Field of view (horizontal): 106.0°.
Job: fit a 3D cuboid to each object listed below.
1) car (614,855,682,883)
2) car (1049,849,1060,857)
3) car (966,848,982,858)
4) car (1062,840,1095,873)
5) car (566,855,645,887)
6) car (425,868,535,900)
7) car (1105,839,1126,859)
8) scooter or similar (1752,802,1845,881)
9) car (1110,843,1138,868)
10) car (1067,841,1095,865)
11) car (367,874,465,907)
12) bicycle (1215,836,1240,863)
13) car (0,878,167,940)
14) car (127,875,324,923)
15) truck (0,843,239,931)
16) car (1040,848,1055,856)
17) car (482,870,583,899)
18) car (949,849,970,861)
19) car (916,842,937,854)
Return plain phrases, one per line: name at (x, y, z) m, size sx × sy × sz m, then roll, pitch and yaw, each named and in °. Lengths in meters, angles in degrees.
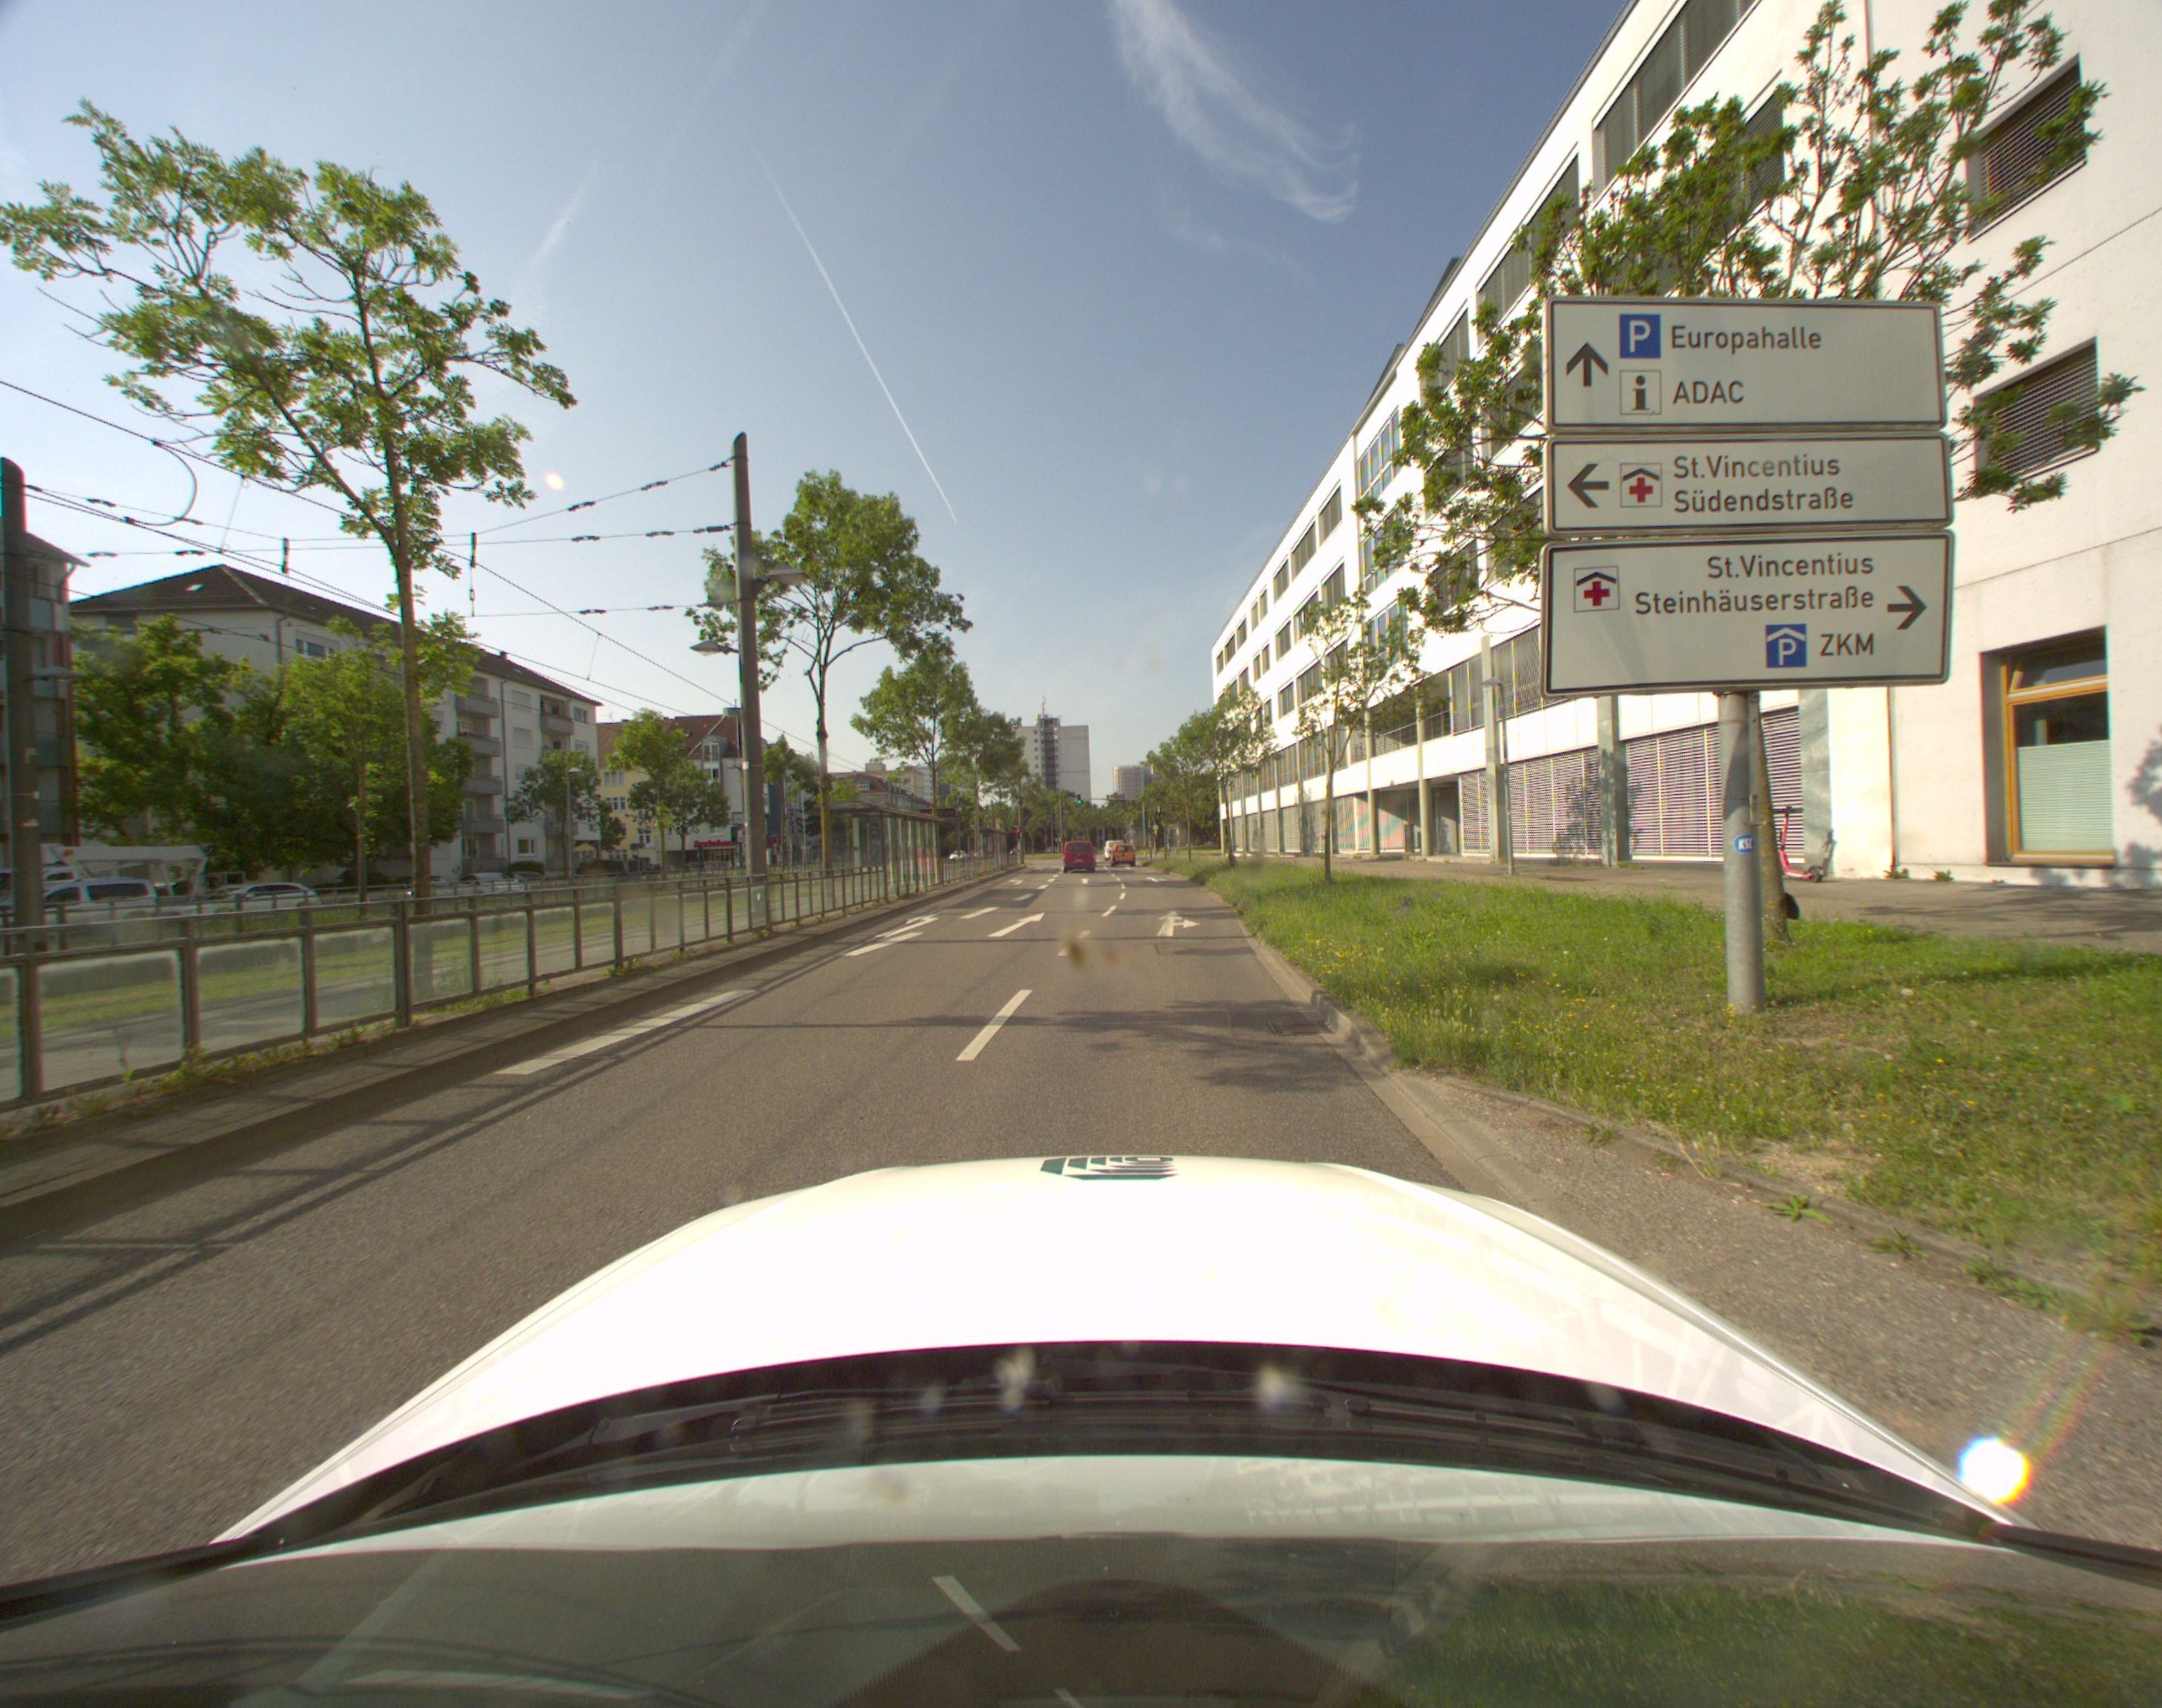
car at (-32.935, 1.098, 62.093) m, size 2.359 × 2.030 × 5.309 m, roll -1°, pitch 0°, yaw -1°
car at (-5.570, -0.181, 171.657) m, size 1.865 × 1.574 × 4.008 m, roll -1°, pitch 0°, yaw 7°
car at (-17.695, -0.234, 134.497) m, size 1.867 × 1.574 × 4.004 m, roll -2°, pitch 0°, yaw 3°
car at (-0.197, 0.142, 49.314) m, size 1.869 × 1.853 × 3.998 m, roll -2°, pitch 0°, yaw -1°
car at (-32.794, 1.121, 56.420) m, size 2.359 × 2.030 × 5.309 m, roll -1°, pitch 0°, yaw -1°
car at (-27.598, 1.373, 37.442) m, size 3.957 × 1.244 × 1.947 m, roll -2°, pitch 0°, yaw 15°
car at (3.445, -0.503, 81.525) m, size 1.987 × 2.013 × 4.000 m, roll -1°, pitch 0°, yaw 0°
scooter or similar at (11.678, -0.205, 13.295) m, size 0.460 × 1.213 × 1.257 m, roll -4°, pitch 1°, yaw 6°
car at (3.155, 0.093, 60.585) m, size 1.869 × 1.696 × 3.974 m, roll -2°, pitch 0°, yaw 1°
car at (0.023, -0.075, 63.243) m, size 1.987 × 1.705 × 4.000 m, roll -3°, pitch 1°, yaw 0°
car at (-27.808, 1.513, 34.036) m, size 3.949 × 1.244 × 1.844 m, roll -2°, pitch 0°, yaw 30°
bicycle at (5.788, -0.177, 32.222) m, size 0.616 × 1.017 × 1.879 m, roll -2°, pitch 0°, yaw -1°
car at (-29.607, 1.514, 23.347) m, size 1.975 × 1.513 × 4.279 m, roll -1°, pitch 0°, yaw -1°
car at (-29.684, 1.493, 28.531) m, size 1.975 × 1.379 × 4.682 m, roll -1°, pitch 0°, yaw -1°
truck at (-32.754, 0.954, 26.920) m, size 2.358 × 2.563 × 7.239 m, roll -1°, pitch 0°, yaw -1°
car at (-7.210, -0.341, 178.064) m, size 1.860 × 1.574 × 4.241 m, roll -3°, pitch 0°, yaw 17°
car at (-26.959, 1.483, 40.060) m, size 3.957 × 1.244 × 1.947 m, roll -2°, pitch 0°, yaw 15°
car at (-16.764, 0.090, 112.519) m, size 1.985 × 1.596 × 4.054 m, roll -1°, pitch 0°, yaw 4°
car at (-21.171, -0.826, 111.646) m, size 1.987 × 1.596 × 4.001 m, roll -1°, pitch 0°, yaw 1°
